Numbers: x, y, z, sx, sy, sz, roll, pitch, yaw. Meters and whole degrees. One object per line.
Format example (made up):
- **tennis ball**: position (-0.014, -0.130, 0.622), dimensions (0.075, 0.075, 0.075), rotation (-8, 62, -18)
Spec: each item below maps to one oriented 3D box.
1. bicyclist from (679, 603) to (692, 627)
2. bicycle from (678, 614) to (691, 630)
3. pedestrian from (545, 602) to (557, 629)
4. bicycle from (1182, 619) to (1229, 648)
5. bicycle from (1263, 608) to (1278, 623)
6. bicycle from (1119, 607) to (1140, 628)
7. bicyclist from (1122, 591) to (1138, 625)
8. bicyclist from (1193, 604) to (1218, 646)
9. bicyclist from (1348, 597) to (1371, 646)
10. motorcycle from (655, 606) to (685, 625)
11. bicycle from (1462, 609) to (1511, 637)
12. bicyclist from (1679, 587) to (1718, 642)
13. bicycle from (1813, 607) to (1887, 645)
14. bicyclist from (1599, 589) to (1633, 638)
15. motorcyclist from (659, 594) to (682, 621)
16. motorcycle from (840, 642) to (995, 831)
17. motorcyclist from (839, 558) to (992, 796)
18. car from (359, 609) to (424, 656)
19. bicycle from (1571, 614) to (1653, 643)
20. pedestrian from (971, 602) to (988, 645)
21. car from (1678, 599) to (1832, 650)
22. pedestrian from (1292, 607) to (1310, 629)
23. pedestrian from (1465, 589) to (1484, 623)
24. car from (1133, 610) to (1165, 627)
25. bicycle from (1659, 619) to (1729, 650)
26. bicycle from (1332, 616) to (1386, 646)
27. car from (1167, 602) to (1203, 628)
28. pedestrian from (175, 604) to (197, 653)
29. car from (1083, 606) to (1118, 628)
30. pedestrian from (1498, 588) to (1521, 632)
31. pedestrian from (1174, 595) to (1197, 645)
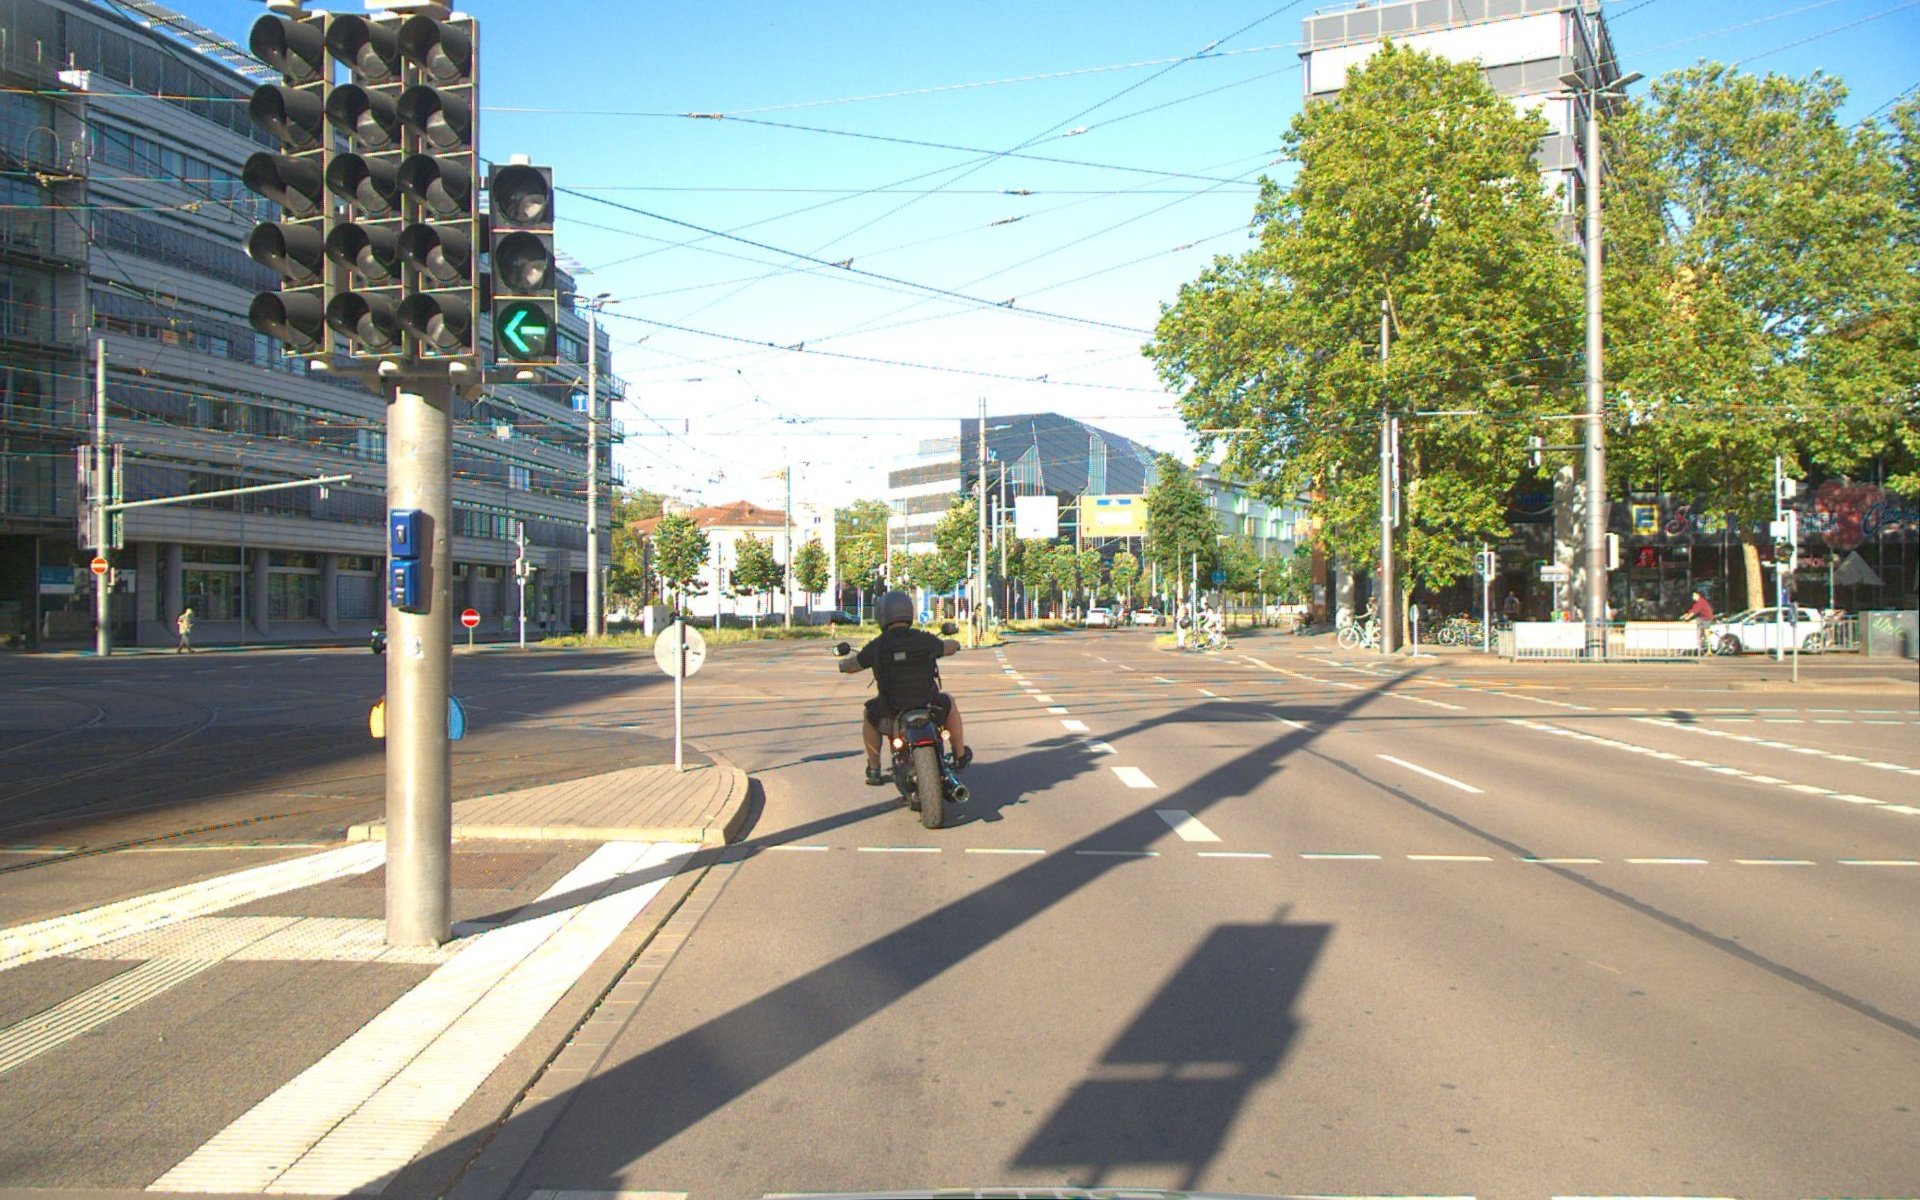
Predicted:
- **bicyclist**: position (-19.510, 1.077, 117.406), dimensions (0.748, 1.696, 0.994), rotation (0, 0, 1)
- **bicycle**: position (-19.542, 1.584, 117.405), dimensions (0.629, 1.127, 1.685), rotation (0, 0, 1)
- **pedestrian**: position (-26.471, 1.011, 107.000), dimensions (0.536, 1.764, 0.642), rotation (-1, 0, 5)
- **bicycle**: position (8.976, 1.231, 60.453), dimensions (1.594, 1.039, 0.516), rotation (-1, -1, 22)
- **bicycle**: position (23.398, 1.171, 124.533), dimensions (1.018, 1.153, 3.183), rotation (0, 0, 12)
- **bicycle**: position (13.343, 1.360, 130.206), dimensions (0.994, 1.607, 3.576), rotation (-1, 0, 16)
- **bicyclist**: position (13.410, 0.597, 130.327), dimensions (0.994, 2.670, 1.472), rotation (-1, 0, 17)
- **bicyclist**: position (8.978, 0.925, 60.479), dimensions (0.728, 1.529, 0.570), rotation (-1, -1, 24)
- **bicyclist**: position (14.157, 0.748, 58.573), dimensions (0.727, 1.724, 0.570), rotation (-1, -1, 10)
- **motorcycle**: position (-19.013, 1.026, 108.563), dimensions (0.962, 1.253, 2.945), rotation (0, 0, 10)
- **bicycle**: position (19.307, 0.836, 60.672), dimensions (1.668, 1.003, 0.391), rotation (-1, 0, 13)
- **bicyclist**: position (22.365, 0.439, 50.077), dimensions (0.906, 1.643, 0.638), rotation (0, 0, 3)
- **bicycle**: position (31.211, 0.912, 58.008), dimensions (2.890, 1.256, 0.870), rotation (-1, 0, -28)
- **bicyclist**: position (26.303, 0.547, 66.302), dimensions (1.202, 1.965, 0.834), rotation (0, 0, 26)
- **motorcyclist**: position (-19.009, 0.515, 108.648), dimensions (0.997, 1.761, 1.462), rotation (0, -1, 10)
- **motorcycle**: position (-0.354, 0.910, 11.802), dimensions (0.986, 1.145, 2.321), rotation (1, 0, -4)
- **motorcyclist**: position (-0.340, 0.521, 11.729), dimensions (1.002, 1.579, 1.285), rotation (1, 0, -4)
- **car**: position (-19.619, 1.085, 56.975), dimensions (1.768, 1.491, 4.279), rotation (-1, 0, -24)
- **bicycle**: position (26.143, 1.150, 66.341), dimensions (2.981, 1.133, 0.834), rotation (0, 0, 27)
- **pedestrian**: position (0.731, 0.876, 61.898), dimensions (0.643, 1.610, 0.489), rotation (0, 0, 3)
- **car**: position (24.898, 0.760, 51.909), dimensions (3.903, 1.512, 2.001), rotation (1, -1, 3)
- **pedestrian**: position (17.333, 0.900, 84.006), dimensions (0.768, 1.075, 0.814), rotation (-1, 0, 22)
- **pedestrian**: position (23.937, 0.280, 76.906), dimensions (0.760, 1.554, 0.564), rotation (-1, -1, 24)
- **car**: position (15.905, 1.559, 139.060), dimensions (1.973, 1.400, 4.041), rotation (0, 0, 17)
- **bicycle**: position (22.235, 1.054, 50.110), dimensions (1.814, 0.926, 0.652), rotation (0, 0, 3)
- **bicycle**: position (14.130, 1.102, 58.567), dimensions (1.813, 1.039, 0.517), rotation (-1, -1, 10)
- **car**: position (16.906, 1.146, 124.230), dimensions (2.010, 1.906, 4.229), rotation (1, -1, 17)
- **pedestrian**: position (-30.026, 1.115, 64.148), dimensions (0.665, 1.855, 0.880), rotation (-1, -1, -21)
- **car**: position (10.210, 1.214, 120.039), dimensions (1.861, 1.534, 4.002), rotation (1, -1, 15)
- **pedestrian**: position (24.215, 0.442, 72.848), dimensions (0.829, 1.884, 0.810), rotation (2, 0, 13)
- **pedestrian**: position (8.506, 0.751, 62.361), dimensions (0.688, 1.869, 0.513), rotation (0, -1, 35)
